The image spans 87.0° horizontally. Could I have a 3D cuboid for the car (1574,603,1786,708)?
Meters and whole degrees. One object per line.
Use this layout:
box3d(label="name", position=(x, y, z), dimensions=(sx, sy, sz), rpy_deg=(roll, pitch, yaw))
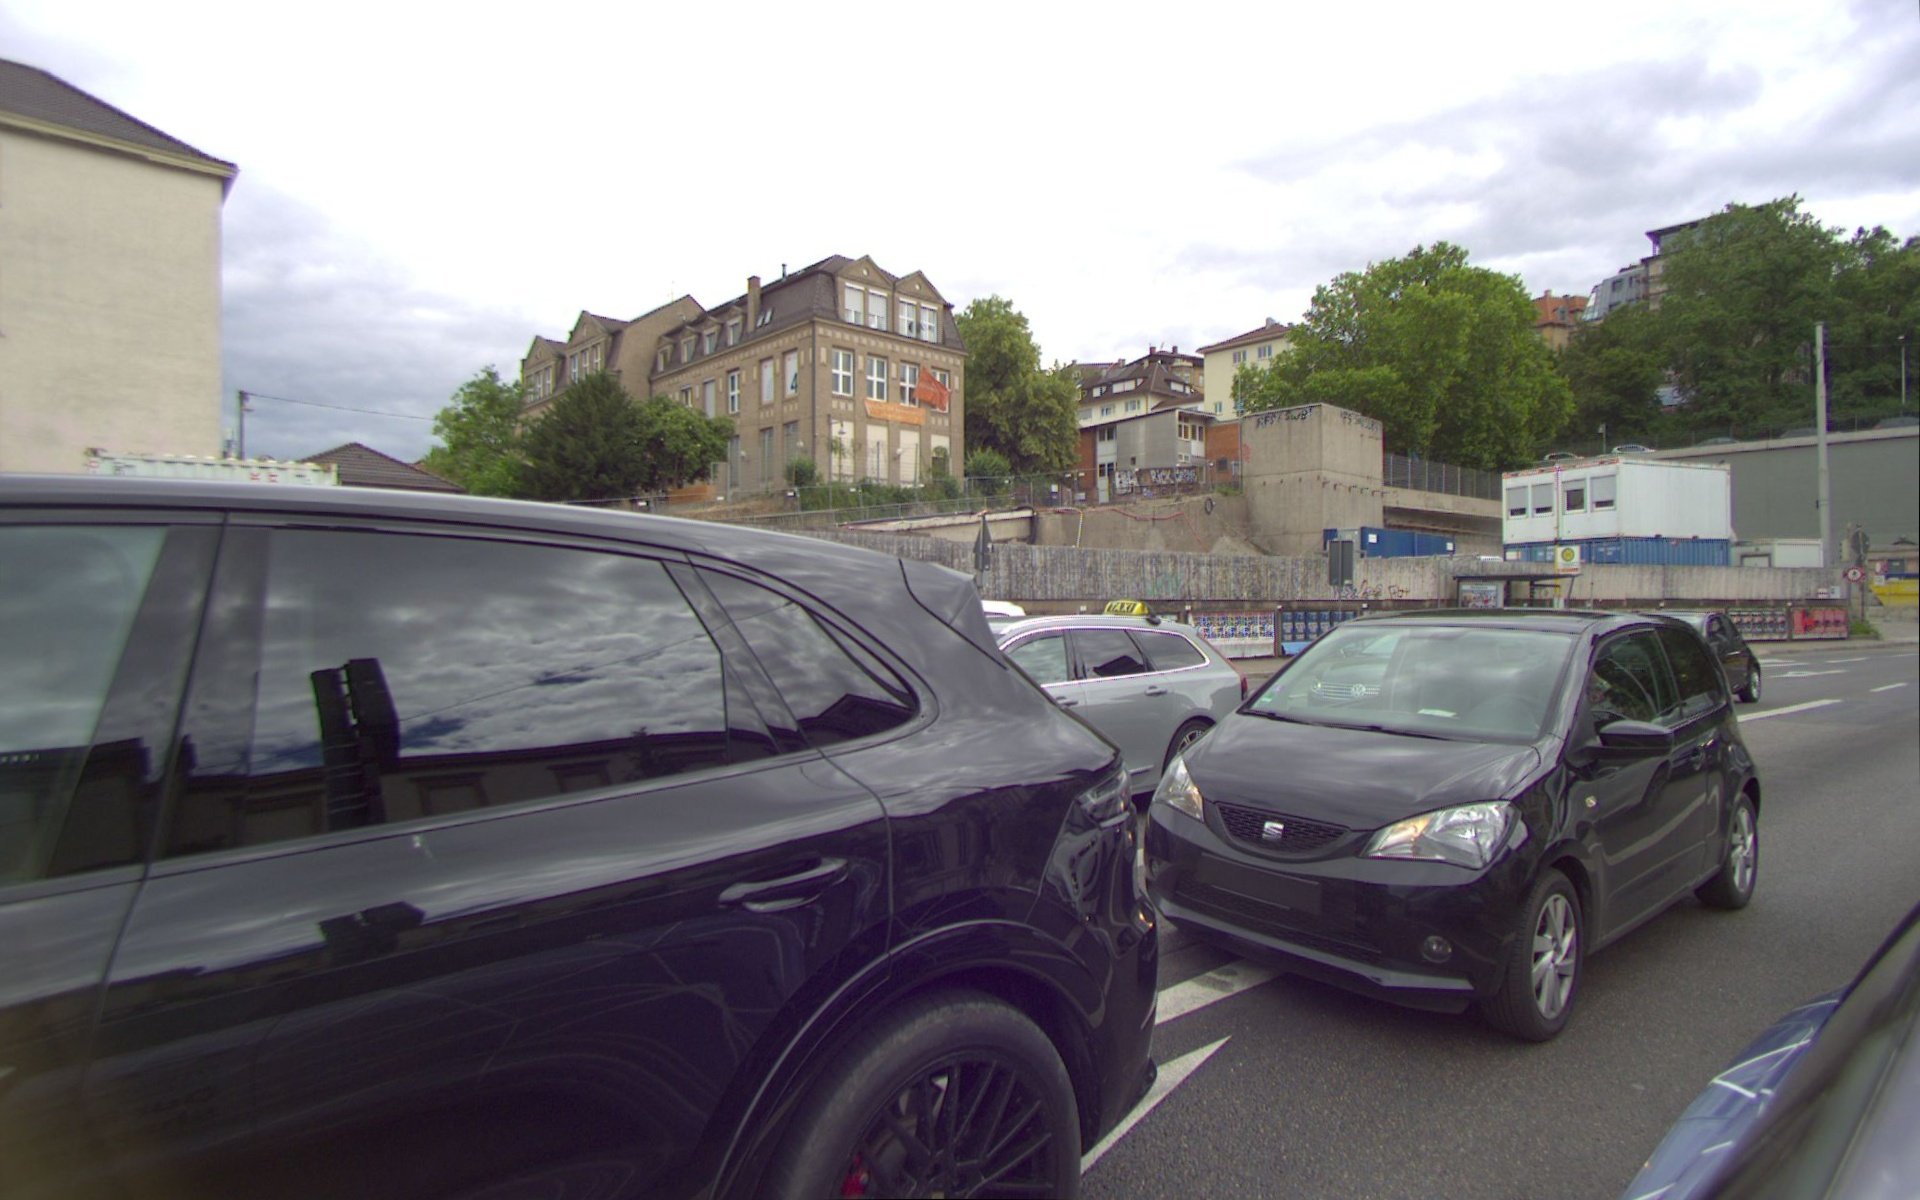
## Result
box3d(label="car", position=(11.510, 0.809, 16.112), dimensions=(3.711, 1.478, 1.721), rpy_deg=(1, -2, -38))

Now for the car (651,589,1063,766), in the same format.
box3d(label="car", position=(-0.946, 0.638, 10.597), dimensions=(4.004, 1.484, 1.824), rpy_deg=(-1, 0, -42))

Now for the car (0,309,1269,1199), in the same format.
box3d(label="car", position=(-1.664, 0.560, 1.661), dimensions=(4.497, 1.689, 1.998), rpy_deg=(-1, 0, -39))

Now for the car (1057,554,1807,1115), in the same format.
box3d(label="car", position=(2.405, 0.636, 4.713), dimensions=(3.841, 1.575, 1.661), rpy_deg=(-1, 0, -39))

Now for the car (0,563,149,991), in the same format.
box3d(label="car", position=(-5.069, 0.641, 3.451), dimensions=(3.581, 1.529, 1.826), rpy_deg=(-1, 0, -39))

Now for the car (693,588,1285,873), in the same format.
box3d(label="car", position=(0.393, 0.662, 7.334), dimensions=(4.142, 1.484, 1.825), rpy_deg=(-1, 0, -40))

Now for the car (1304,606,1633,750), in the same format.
box3d(label="car", position=(6.017, 0.774, 11.799), dimensions=(4.139, 1.381, 1.827), rpy_deg=(1, 0, -38))
